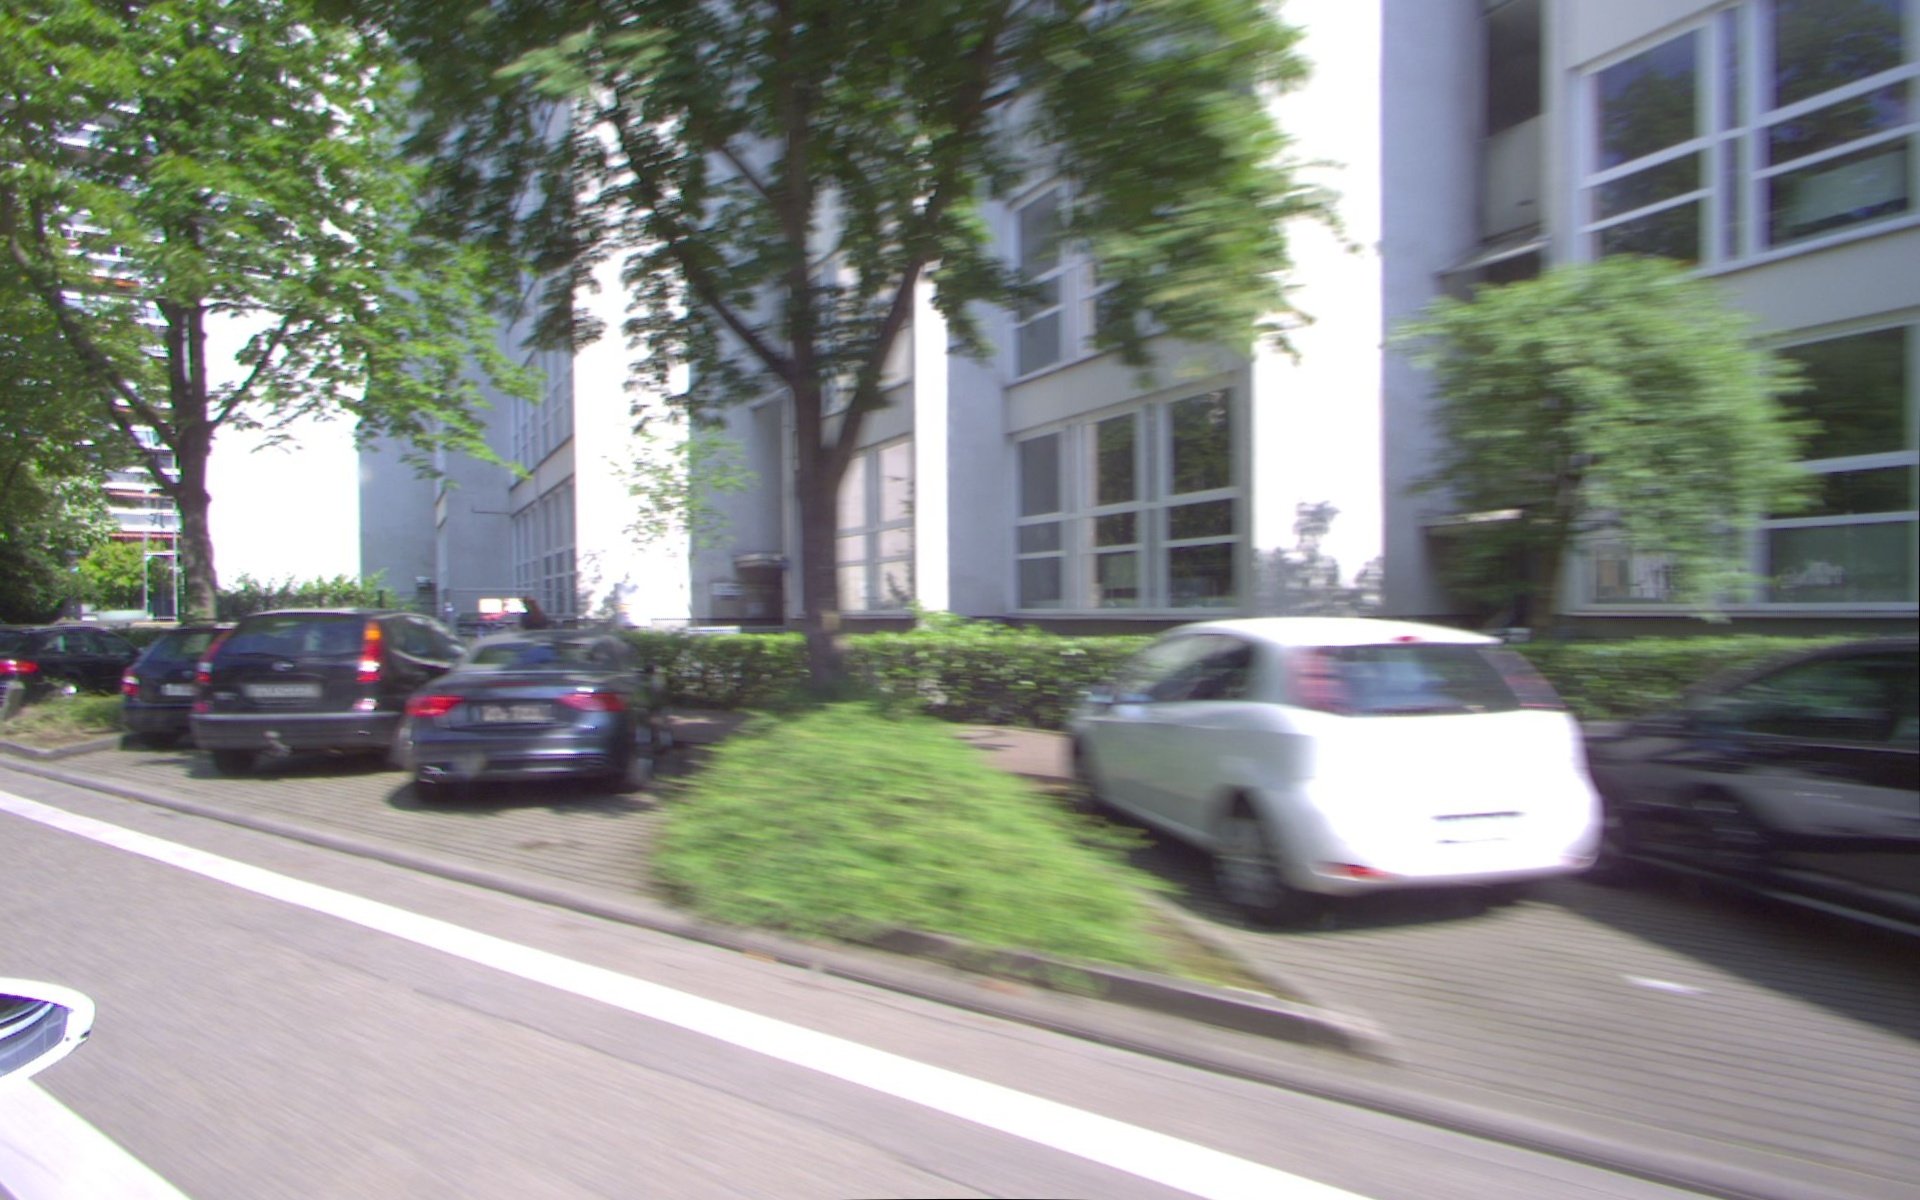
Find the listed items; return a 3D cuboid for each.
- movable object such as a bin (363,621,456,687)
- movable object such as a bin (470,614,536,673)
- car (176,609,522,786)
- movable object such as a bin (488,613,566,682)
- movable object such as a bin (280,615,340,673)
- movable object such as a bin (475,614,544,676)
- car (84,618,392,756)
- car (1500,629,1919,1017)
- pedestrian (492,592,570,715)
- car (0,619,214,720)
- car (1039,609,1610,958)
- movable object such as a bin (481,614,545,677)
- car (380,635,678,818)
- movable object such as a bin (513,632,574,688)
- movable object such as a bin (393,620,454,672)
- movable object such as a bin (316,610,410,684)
[{"bbox_3d":[-11.579,1.116,21.078,1.307,1.335,1.272,-1,-1,33],"label":"movable object such as a bin"},{"bbox_3d":[-12.236,1.145,26.819,1.362,1.467,1.254,-2,2,-36],"label":"movable object such as a bin"},{"bbox_3d":[-6.431,0.951,11.139,1.869,1.595,3.999,1,-2,-9],"label":"car"},{"bbox_3d":[-9.914,1.053,22.931,1.362,1.467,1.254,-2,2,-36],"label":"movable object such as a bin"},{"bbox_3d":[-17.240,1.151,26.601,1.250,1.500,0.932,1,0,-30],"label":"movable object such as a bin"},{"bbox_3d":[-11.460,1.117,25.464,1.362,1.467,1.254,-2,2,-36],"label":"movable object such as a bin"},{"bbox_3d":[-9.120,1.012,13.108,1.694,1.462,4.072,2,-1,-11],"label":"car"},{"bbox_3d":[4.470,0.883,4.323,1.667,1.467,3.998,0,-1,-10],"label":"car"},{"bbox_3d":[-6.870,0.836,16.033,0.990,1.898,0.757,0,0,38],"label":"pedestrian"},{"bbox_3d":[-14.624,1.089,16.526,1.994,1.460,4.534,1,-2,-12],"label":"car"},{"bbox_3d":[1.814,0.819,6.376,1.507,1.480,3.996,0,-1,-13],"label":"car"},{"bbox_3d":[-10.782,1.087,24.136,1.194,1.475,1.444,1,-2,-34],"label":"movable object such as a bin"},{"bbox_3d":[-3.870,1.032,9.772,1.870,1.366,4.173,1,-2,-12],"label":"car"},{"bbox_3d":[-9.014,1.279,21.669,1.020,1.105,0.924,-3,2,-32],"label":"movable object such as a bin"},{"bbox_3d":[-14.956,1.263,27.902,1.201,1.356,1.252,-2,2,-42],"label":"movable object such as a bin"},{"bbox_3d":[-13.037,1.008,21.873,1.449,1.559,1.272,-1,-1,33],"label":"movable object such as a bin"}]
